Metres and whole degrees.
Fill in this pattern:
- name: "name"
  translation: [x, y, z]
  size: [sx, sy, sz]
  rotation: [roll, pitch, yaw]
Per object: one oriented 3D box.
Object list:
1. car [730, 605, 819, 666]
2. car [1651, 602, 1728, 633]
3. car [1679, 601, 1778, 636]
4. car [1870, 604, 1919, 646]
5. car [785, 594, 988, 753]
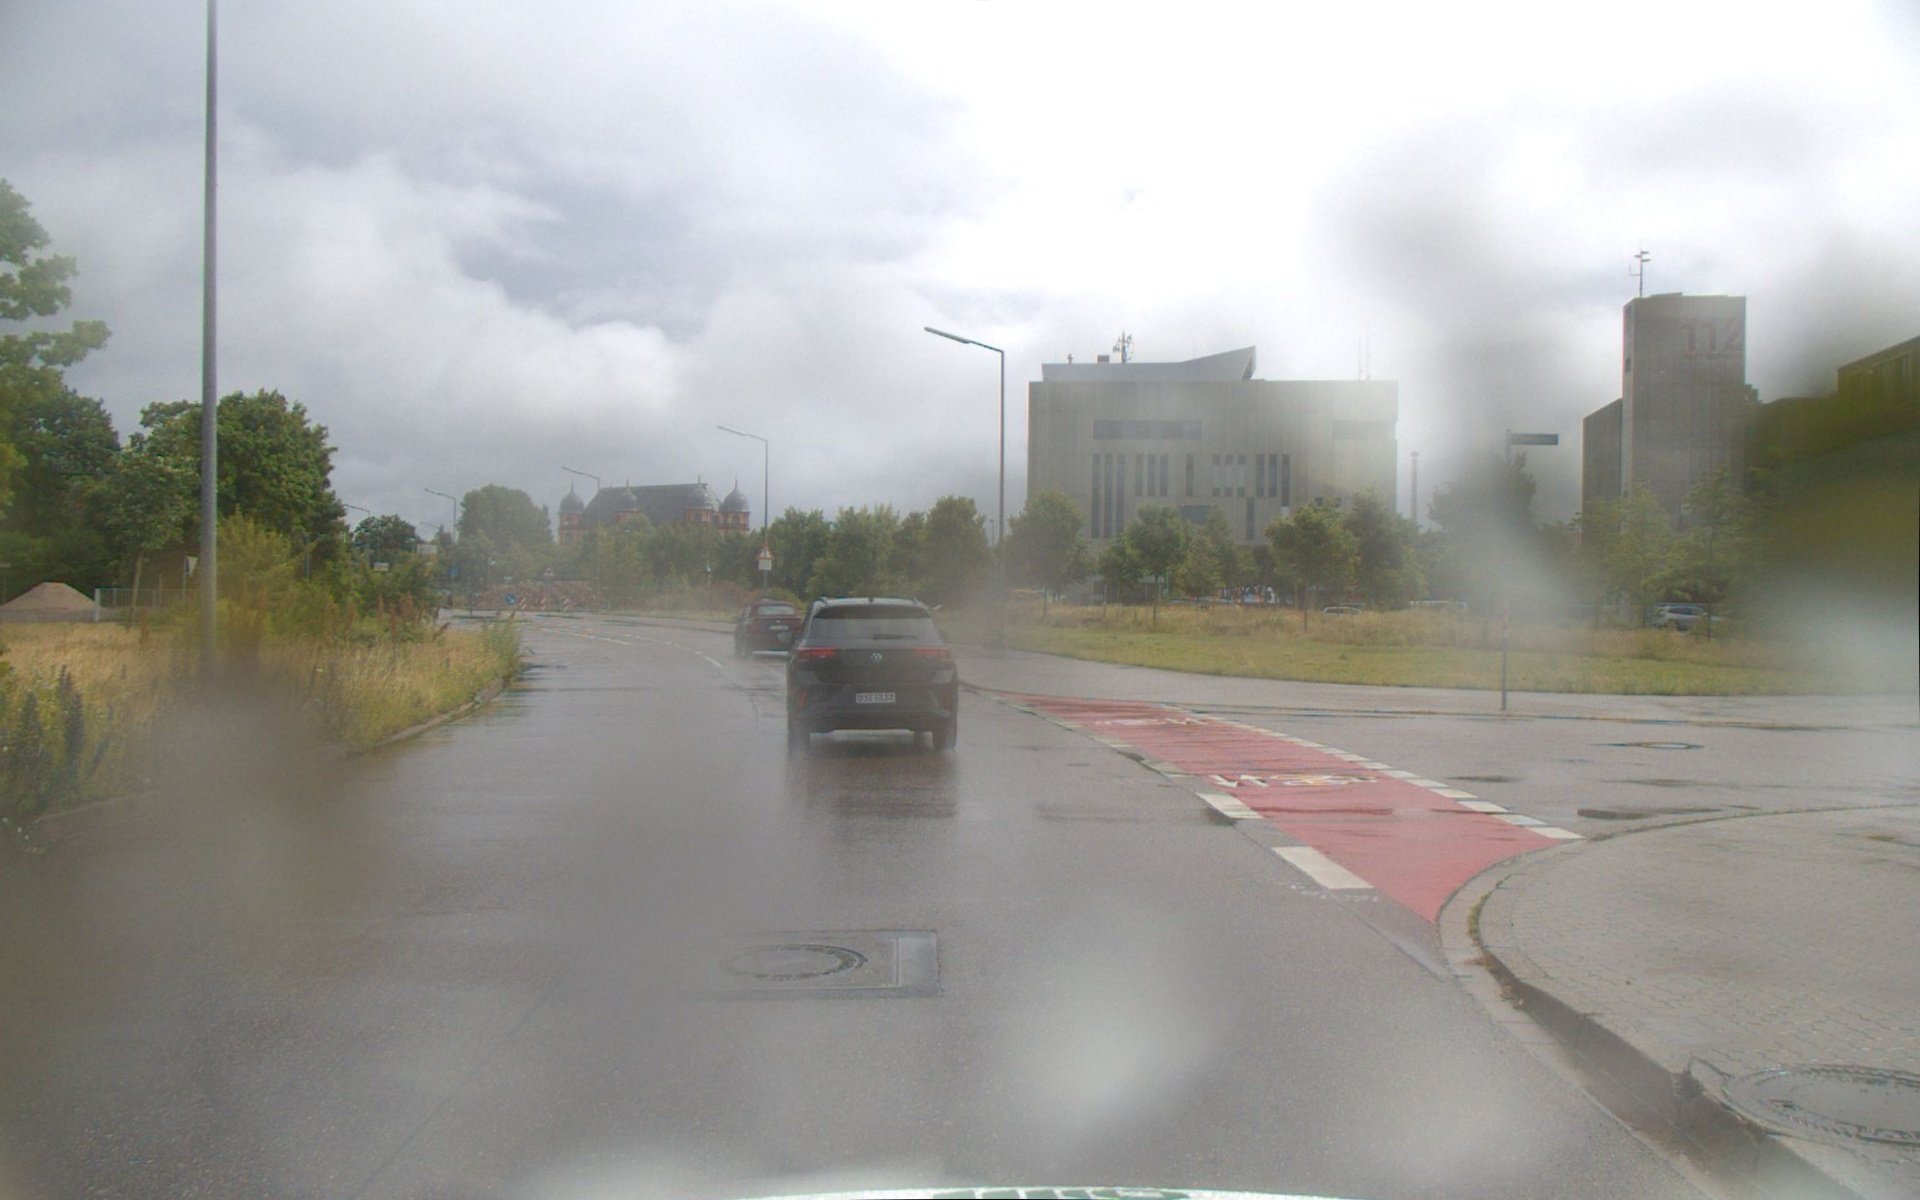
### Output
- name: "car"
  translation: [-4.902, 0.886, 43.313]
  size: [1.810, 1.467, 3.986]
  rotation: [-2, 0, -13]
- name: "car"
  translation: [43.051, 1.048, 97.698]
  size: [3.902, 1.751, 1.770]
  rotation: [1, 0, 13]
- name: "car"
  translation: [40.767, 0.963, 87.812]
  size: [4.445, 1.793, 2.002]
  rotation: [1, 0, 13]
- name: "car"
  translation: [37.204, 0.937, 63.029]
  size: [4.115, 1.585, 1.668]
  rotation: [-1, -1, 13]
- name: "car"
  translation: [-0.920, 0.720, 18.169]
  size: [1.949, 1.547, 3.994]
  rotation: [1, 0, -7]
